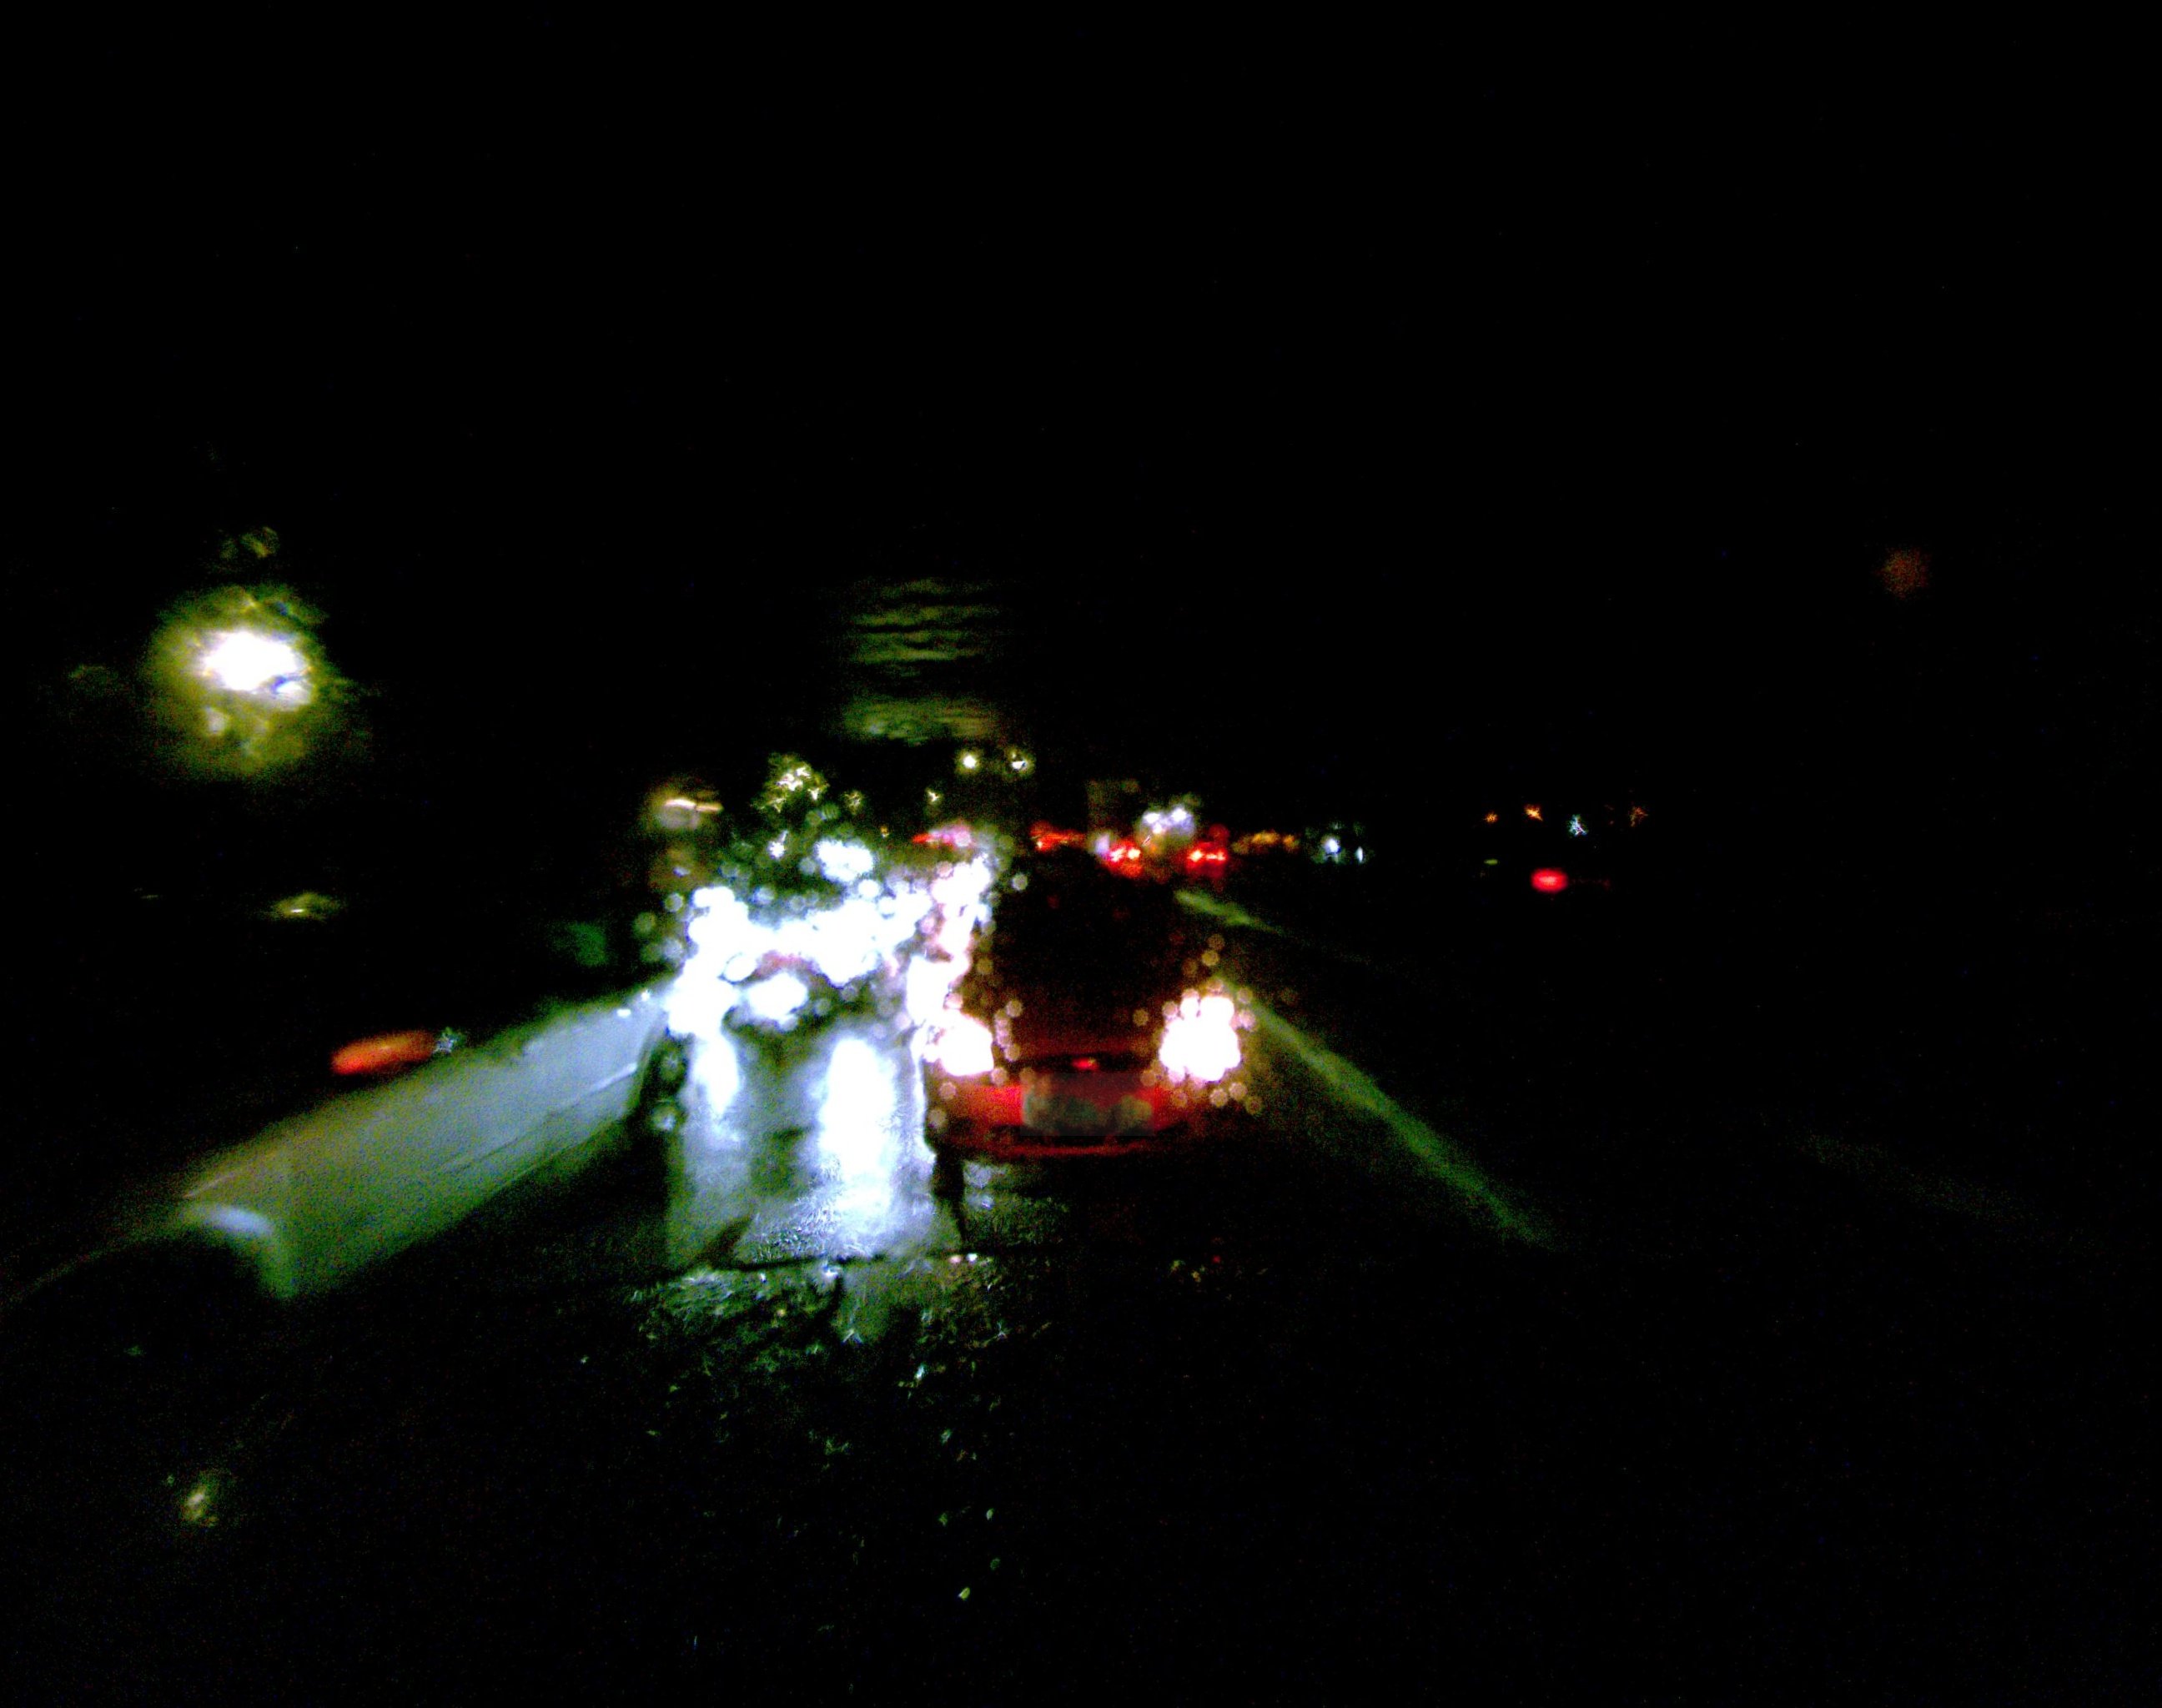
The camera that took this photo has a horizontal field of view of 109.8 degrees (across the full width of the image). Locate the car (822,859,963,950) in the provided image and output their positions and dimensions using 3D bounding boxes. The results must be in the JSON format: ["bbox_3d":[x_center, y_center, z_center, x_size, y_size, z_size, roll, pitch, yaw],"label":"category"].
[{"bbox_3d":[-3.729,0.934,15.709,1.869,1.503,3.766,-2,1,1],"label":"car"}]

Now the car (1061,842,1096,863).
[{"bbox_3d":[-0.309,-0.116,68.914,1.972,1.731,4.912,-2,1,-15],"label":"car"}]

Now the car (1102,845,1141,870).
[{"bbox_3d":[3.045,0.258,58.018,1.910,1.731,4.393,-2,1,-12],"label":"car"}]

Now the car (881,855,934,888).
[{"bbox_3d":[-8.134,0.772,35.996,1.853,1.447,4.499,-1,0,-6],"label":"car"}]

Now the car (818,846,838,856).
[{"bbox_3d":[-39.681,-0.410,118.904,1.885,1.463,3.990,-3,1,-34],"label":"car"}]

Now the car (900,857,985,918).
[{"bbox_3d":[-3.909,0.894,22.104,1.629,1.494,3.999,-2,1,1],"label":"car"}]

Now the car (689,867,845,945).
[{"bbox_3d":[-6.924,1.063,17.323,1.853,1.476,4.628,-1,0,-4],"label":"car"}]

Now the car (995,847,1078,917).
[{"bbox_3d":[-1.099,0.635,19.672,1.881,1.534,3.999,-2,1,-2],"label":"car"}]

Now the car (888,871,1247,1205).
[{"bbox_3d":[-0.036,0.897,5.477,1.603,1.360,3.942,-2,1,1],"label":"car"}]

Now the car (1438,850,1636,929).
[{"bbox_3d":[10.278,0.749,17.550,1.911,1.578,4.080,1,-1,-4],"label":"car"}]

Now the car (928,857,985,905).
[{"bbox_3d":[-4.370,0.896,27.169,1.683,1.463,3.998,-2,1,-5],"label":"car"}]

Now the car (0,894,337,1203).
[{"bbox_3d":[-6.455,1.093,3.386,1.842,1.469,4.626,-2,1,-4],"label":"car"}]

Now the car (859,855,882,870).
[{"bbox_3d":[-21.822,0.844,78.851,1.884,1.463,3.993,-3,1,-21],"label":"car"}]

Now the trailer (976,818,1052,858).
[{"bbox_3d":[-8.044,-1.673,88.209,3.974,4.152,13.891,-3,1,-26],"label":"trailer"}]

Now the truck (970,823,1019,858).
[{"bbox_3d":[-10.788,-1.630,93.972,3.974,4.152,6.363,-3,1,-26],"label":"truck"}]

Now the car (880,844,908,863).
[{"bbox_3d":[-15.647,-0.046,63.477,1.855,1.423,4.494,-3,2,-18],"label":"car"}]

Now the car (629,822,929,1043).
[{"bbox_3d":[-3.358,0.739,9.547,1.999,2.076,4.347,-2,1,-1],"label":"car"}]

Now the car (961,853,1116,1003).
[{"bbox_3d":[-0.455,0.840,10.587,1.683,1.591,3.996,-2,1,1],"label":"car"}]

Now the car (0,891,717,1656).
[{"bbox_3d":[-3.175,0.997,2.662,1.792,1.359,3.999,-2,2,0],"label":"car"}]

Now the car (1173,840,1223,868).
[{"bbox_3d":[7.835,0.001,51.429,1.860,1.739,4.501,-2,1,-11],"label":"car"}]

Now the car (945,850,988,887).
[{"bbox_3d":[-5.375,0.651,36.015,1.743,1.581,3.997,-2,1,-6],"label":"car"}]

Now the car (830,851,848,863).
[{"bbox_3d":[-32.934,0.398,103.280,1.884,1.463,3.992,-3,1,-25],"label":"car"}]
